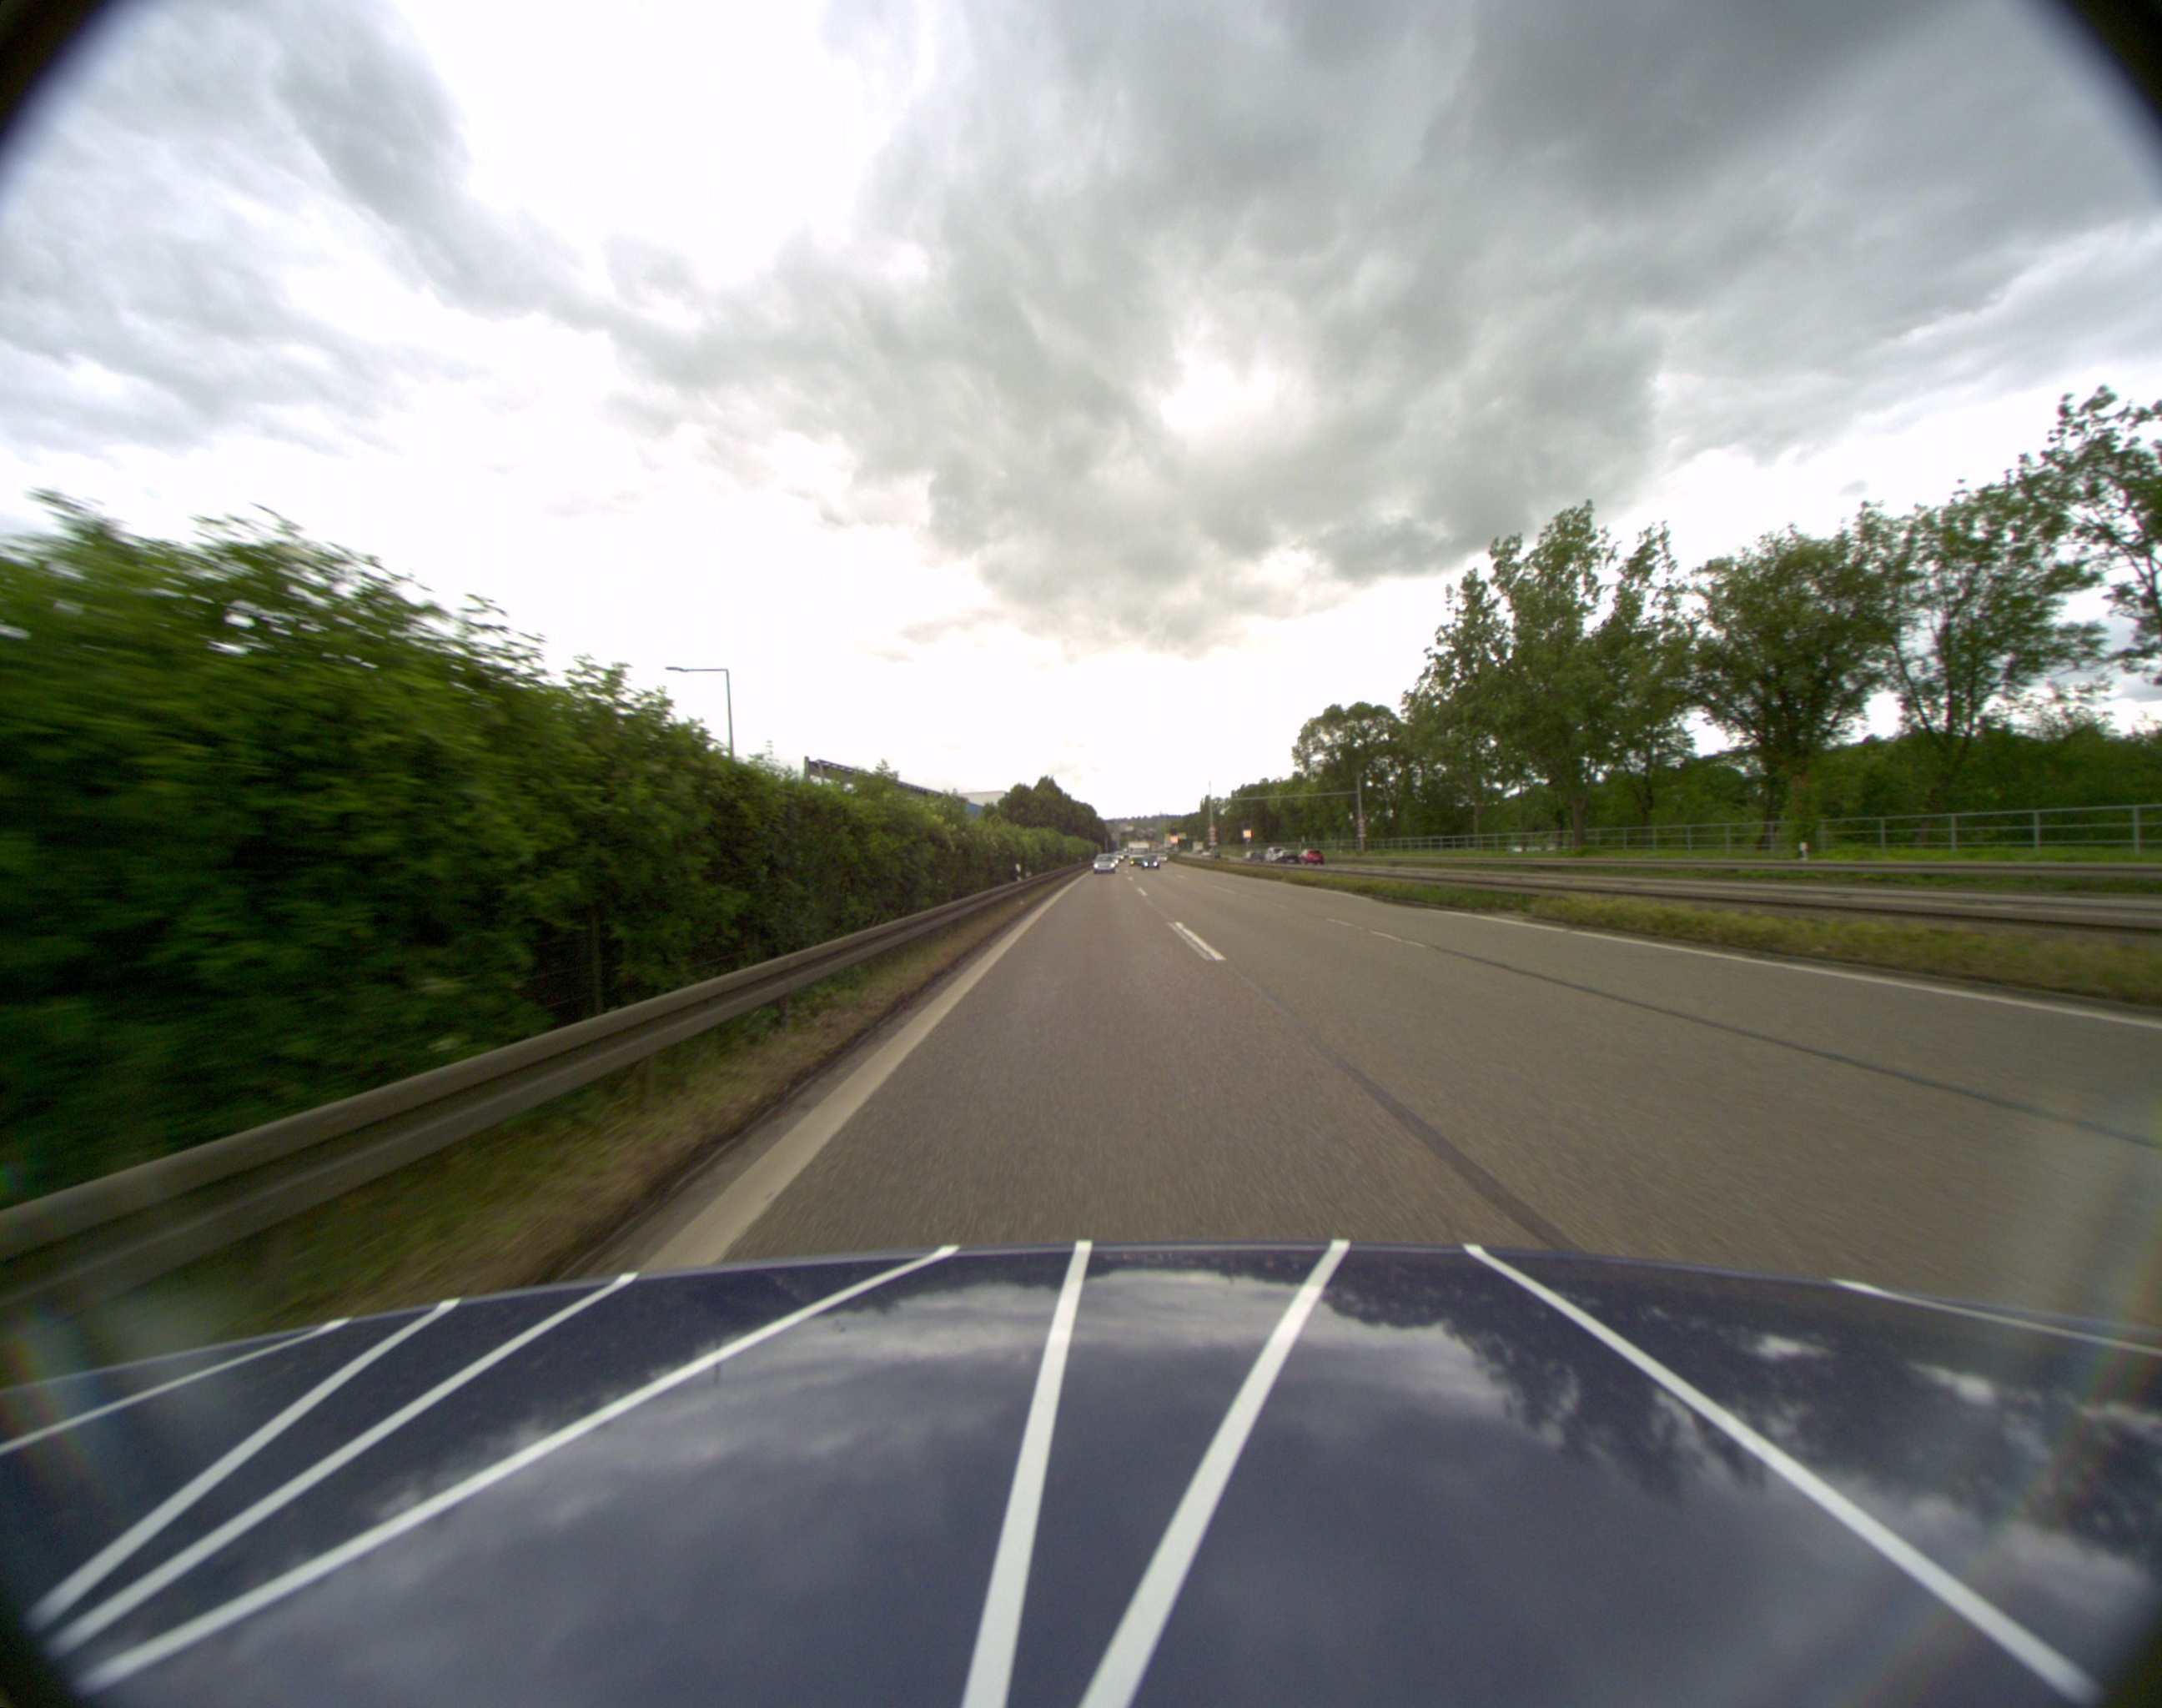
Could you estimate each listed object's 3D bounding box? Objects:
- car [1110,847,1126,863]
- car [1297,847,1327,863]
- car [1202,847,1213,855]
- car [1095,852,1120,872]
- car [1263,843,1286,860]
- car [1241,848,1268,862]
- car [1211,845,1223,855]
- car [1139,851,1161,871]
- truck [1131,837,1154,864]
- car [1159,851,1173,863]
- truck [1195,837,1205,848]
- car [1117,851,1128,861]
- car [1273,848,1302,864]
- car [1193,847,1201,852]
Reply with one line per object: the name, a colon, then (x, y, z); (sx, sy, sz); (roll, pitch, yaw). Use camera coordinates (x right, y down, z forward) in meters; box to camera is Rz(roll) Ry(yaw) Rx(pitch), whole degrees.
car: (4.552, 0.137, 93.307); (1.883, 1.714, 4.147); (-3, 0, 4)
car: (22.497, 0.096, 74.185); (1.722, 1.456, 4.381); (-2, 0, 2)
car: (28.128, -0.716, 169.479); (1.871, 1.665, 4.720); (-1, 0, 3)
car: (2.258, 0.637, 63.685); (1.883, 1.530, 4.147); (-3, 0, 4)
car: (22.793, -0.326, 89.755); (1.614, 1.872, 4.562); (-2, 0, 2)
car: (19.381, 0.046, 85.063); (1.866, 1.456, 5.551); (-2, 0, 2)
car: (23.988, -0.703, 133.871); (1.730, 1.764, 3.742); (-2, 0, 4)
car: (6.558, 0.669, 72.657); (1.883, 1.714, 4.147); (-3, 0, 4)
truck: (8.022, -0.410, 99.825); (2.656, 3.120, 12.513); (-3, -1, 4)
car: (13.101, 0.476, 117.531); (1.883, 1.714, 4.147); (-3, 0, 4)
truck: (39.975, -3.954, 255.184); (2.895, 3.558, 9.591); (-2, 0, 7)
car: (7.596, 0.350, 139.382); (1.883, 1.714, 4.147); (-3, 0, 4)
car: (18.571, 0.172, 68.377); (1.664, 1.415, 3.912); (-2, 0, 2)
car: (33.264, -1.297, 217.833); (1.701, 1.595, 4.540); (-1, 0, 5)
